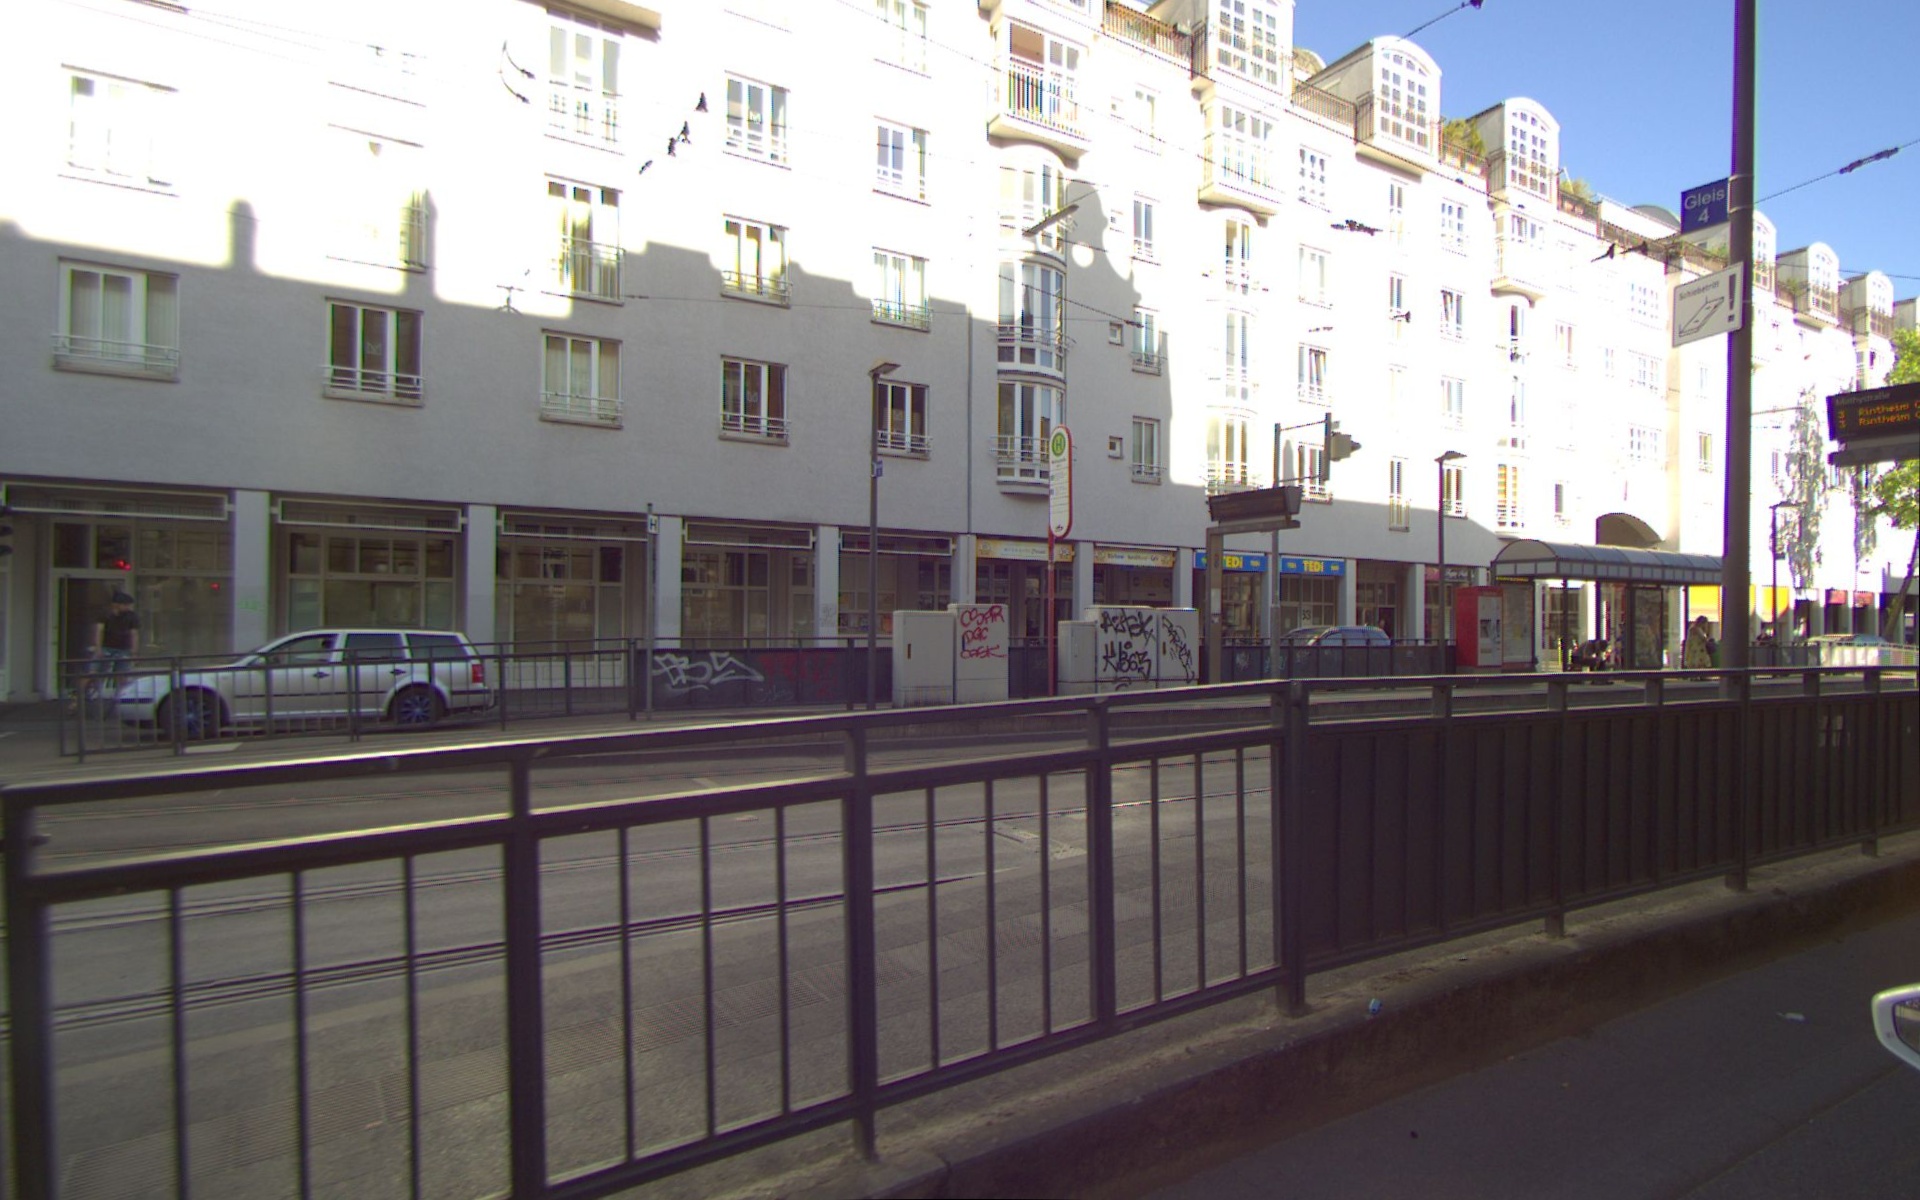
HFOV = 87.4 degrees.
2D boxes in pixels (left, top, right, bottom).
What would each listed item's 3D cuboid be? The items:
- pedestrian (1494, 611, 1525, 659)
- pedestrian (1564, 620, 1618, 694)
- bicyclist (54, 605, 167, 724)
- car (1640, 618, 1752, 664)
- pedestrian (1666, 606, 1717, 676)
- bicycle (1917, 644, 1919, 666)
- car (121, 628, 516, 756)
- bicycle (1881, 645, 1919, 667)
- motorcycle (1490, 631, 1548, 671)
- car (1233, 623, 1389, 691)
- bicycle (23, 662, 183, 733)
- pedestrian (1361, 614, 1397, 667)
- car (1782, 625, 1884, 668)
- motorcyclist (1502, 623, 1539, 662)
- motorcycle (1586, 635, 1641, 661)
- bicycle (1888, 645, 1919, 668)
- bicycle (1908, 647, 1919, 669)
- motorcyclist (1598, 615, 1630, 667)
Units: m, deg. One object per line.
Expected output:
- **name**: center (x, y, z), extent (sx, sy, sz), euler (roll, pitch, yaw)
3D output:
- **pedestrian**: center (19.183, 1.229, 35.078), extent (0.835, 1.643, 0.593), euler (1, -2, -30)
- **pedestrian**: center (13.465, 1.201, 21.445), extent (0.734, 1.548, 0.727), euler (0, -1, -31)
- **bicyclist**: center (-12.642, 0.943, 14.968), extent (1.009, 1.718, 0.724), euler (1, -1, -2)
- **car**: center (24.380, 1.314, 33.259), extent (3.602, 1.440, 1.684), euler (0, -1, -30)
- **pedestrian**: center (16.910, 0.929, 23.223), extent (0.734, 1.580, 0.727), euler (0, -1, -31)
- **bicycle**: center (42.989, 2.427, 44.102), extent (1.465, 0.953, 0.393), euler (0, -1, 6)
- **car**: center (-8.672, 1.189, 13.989), extent (4.355, 1.534, 1.720), euler (2, -2, -32)
- **bicycle**: center (41.480, 2.471, 44.203), extent (1.465, 0.953, 0.393), euler (0, -1, 6)
- **motorcycle**: center (16.069, 1.467, 28.857), extent (1.823, 1.088, 0.556), euler (3, -1, -30)
- **car**: center (8.609, 1.349, 24.596), extent (3.602, 1.529, 1.684), euler (0, -1, -30)
- **bicycle**: center (-12.711, 1.438, 14.937), extent (1.727, 0.993, 0.678), euler (1, -1, -3)
- **pedestrian**: center (13.054, 1.256, 31.297), extent (0.591, 1.643, 0.837), euler (1, -2, -34)
- **car**: center (31.283, 1.639, 35.999), extent (3.602, 1.440, 1.684), euler (0, -1, -30)
- **motorcyclist**: center (16.131, 1.213, 28.917), extent (0.817, 1.088, 0.556), euler (2, -1, -29)
- **motorcycle**: center (19.415, 1.427, 29.837), extent (1.982, 0.729, 0.491), euler (3, -1, -30)
- **bicycle**: center (41.438, 2.465, 43.793), extent (1.465, 0.953, 0.393), euler (0, -1, 6)
- **bicycle**: center (43.044, 2.568, 44.557), extent (1.465, 0.953, 0.393), euler (0, -1, 6)
- **motorcyclist**: center (19.437, 1.215, 29.840), extent (0.713, 1.522, 0.484), euler (2, -1, -29)
